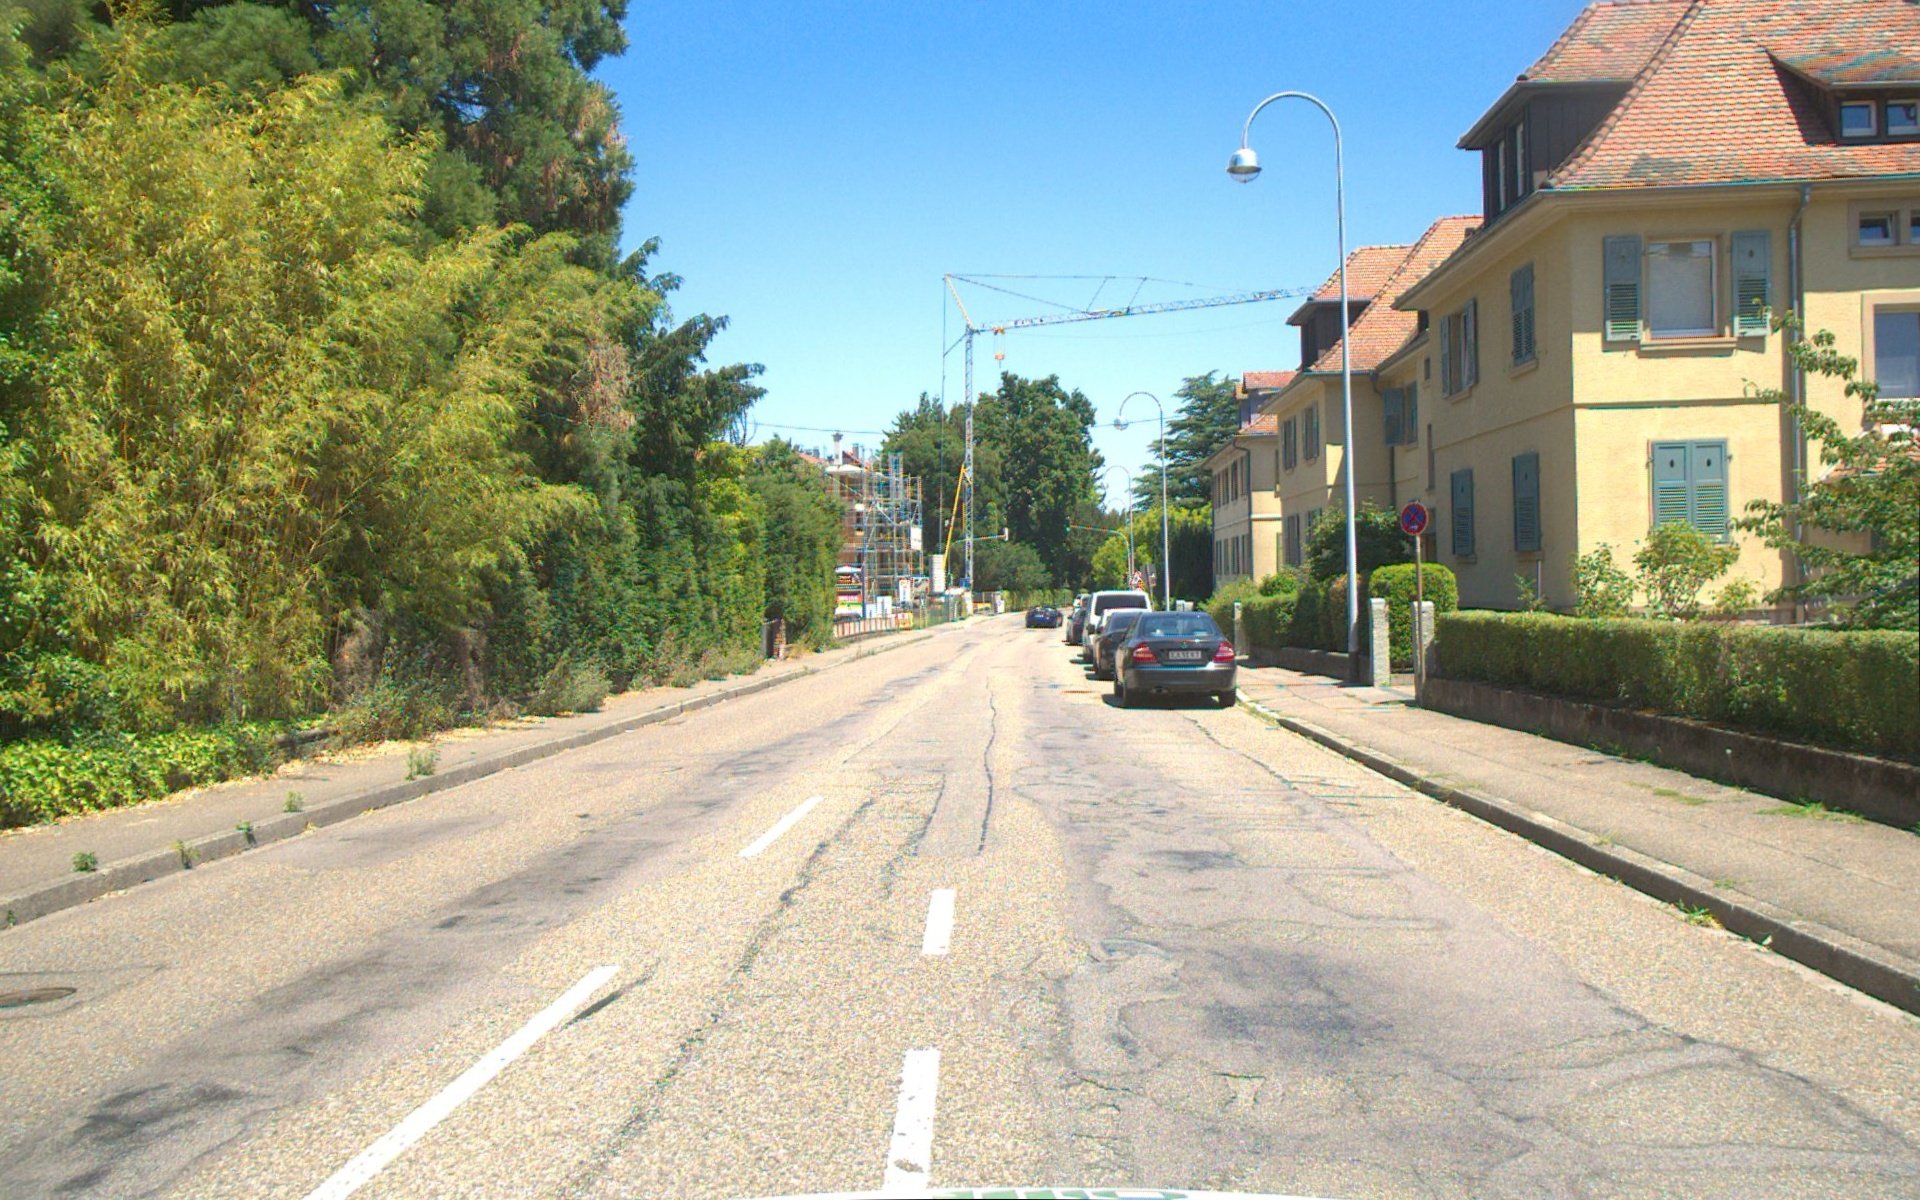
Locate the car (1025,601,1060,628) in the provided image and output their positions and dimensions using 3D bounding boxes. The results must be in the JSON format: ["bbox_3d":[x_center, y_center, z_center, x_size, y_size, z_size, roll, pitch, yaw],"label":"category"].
[{"bbox_3d":[5.104,0.882,101.844,1.917,1.494,4.003,-1,0,6],"label":"car"}]

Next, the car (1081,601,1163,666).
[{"bbox_3d":[3.903,0.785,40.271,1.724,1.477,3.649,-1,0,1],"label":"car"}]

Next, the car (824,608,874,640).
[{"bbox_3d":[-5.316,1.151,79.604,1.624,1.413,3.537,-2,0,8],"label":"car"}]

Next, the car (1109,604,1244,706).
[{"bbox_3d":[3.333,0.813,26.146,1.657,1.443,4.552,-1,-1,2],"label":"car"}]

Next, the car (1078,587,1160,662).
[{"bbox_3d":[4.350,0.649,45.811,1.952,1.934,4.824,1,0,2],"label":"car"}]

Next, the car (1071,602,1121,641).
[{"bbox_3d":[5.371,0.818,65.714,1.724,1.477,3.840,-1,0,1],"label":"car"}]

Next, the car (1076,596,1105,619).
[{"bbox_3d":[9.916,0.561,125.289,1.951,1.691,4.003,-2,0,7],"label":"car"}]

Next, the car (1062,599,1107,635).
[{"bbox_3d":[5.363,0.709,71.640,1.724,1.477,3.890,-1,0,1],"label":"car"}]

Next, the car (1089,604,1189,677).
[{"bbox_3d":[3.751,0.815,35.336,1.724,1.395,4.608,-1,0,1],"label":"car"}]
